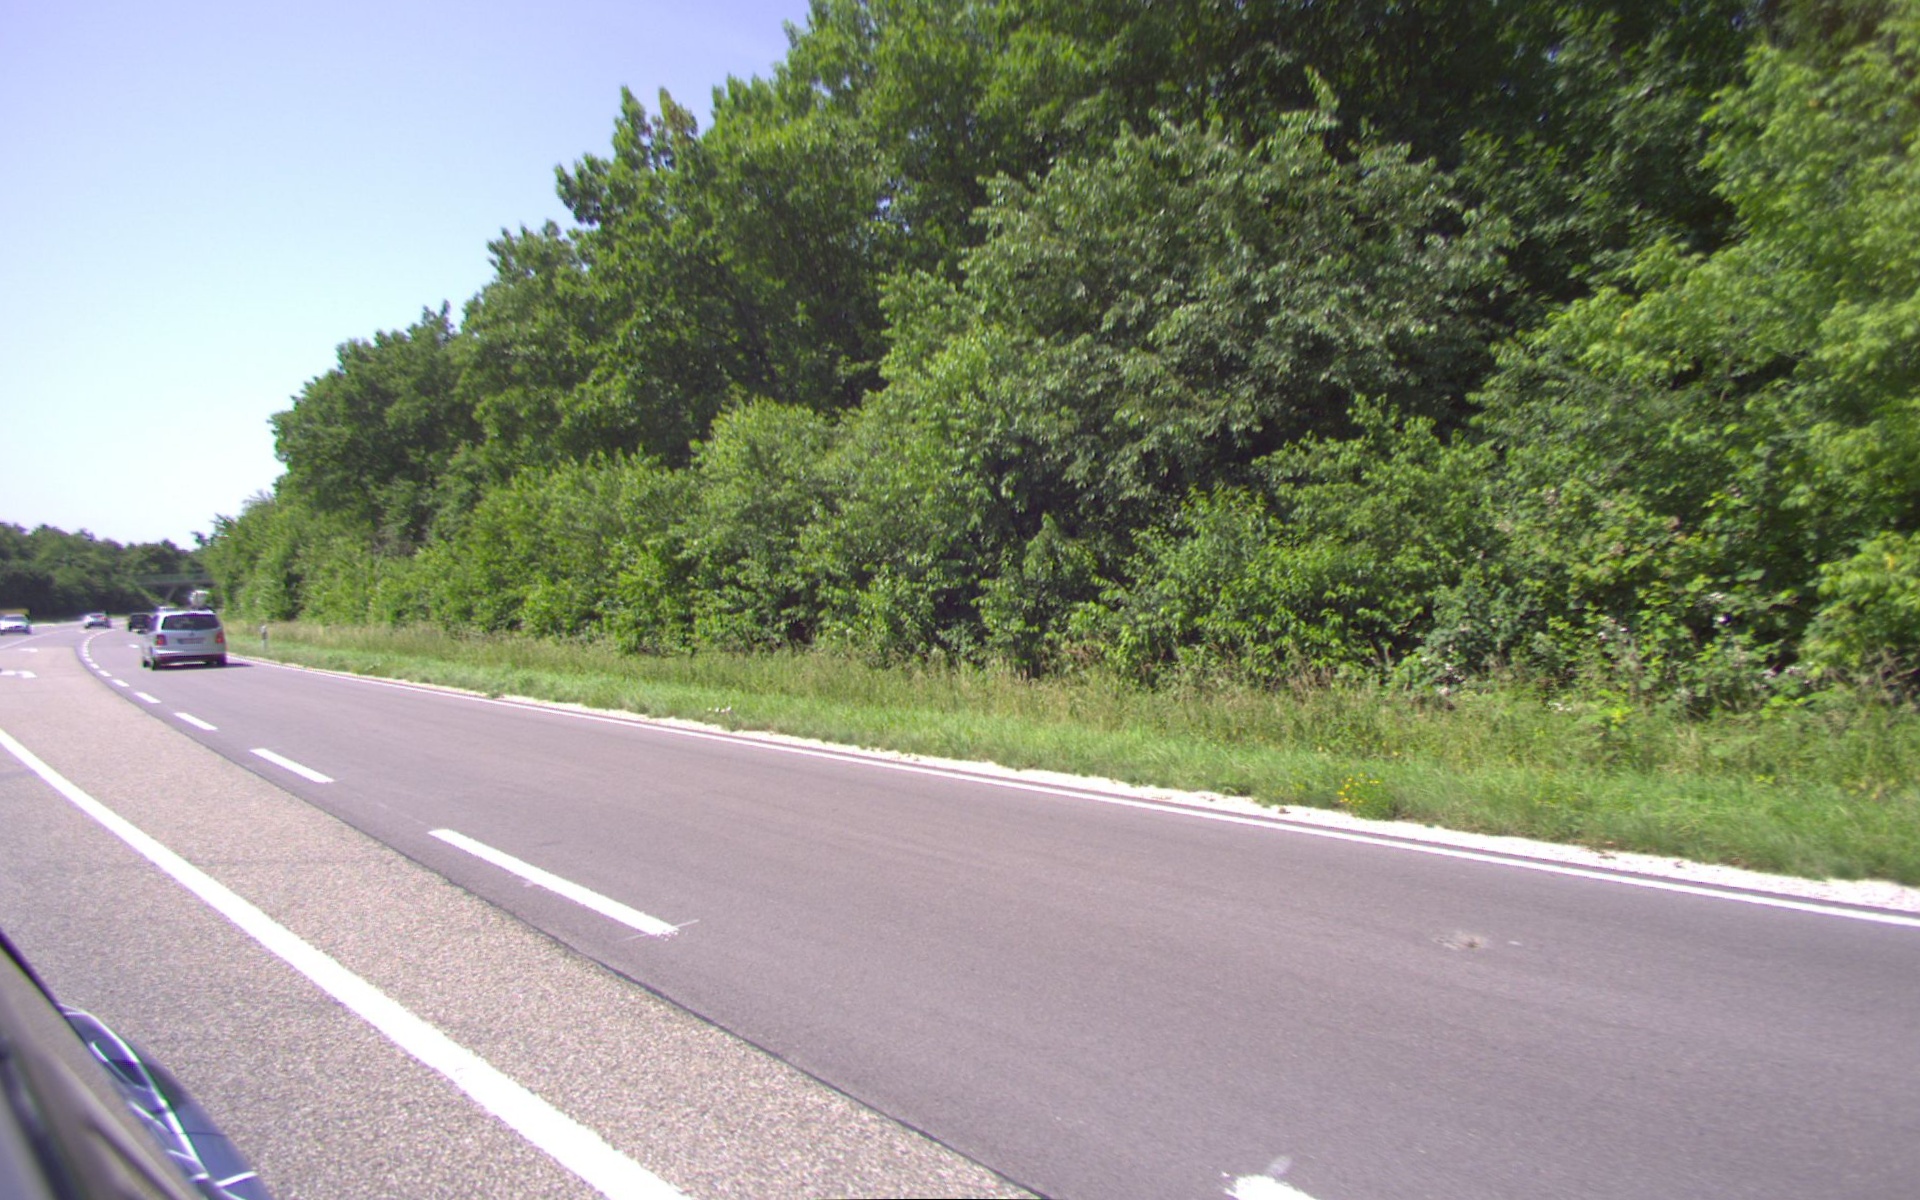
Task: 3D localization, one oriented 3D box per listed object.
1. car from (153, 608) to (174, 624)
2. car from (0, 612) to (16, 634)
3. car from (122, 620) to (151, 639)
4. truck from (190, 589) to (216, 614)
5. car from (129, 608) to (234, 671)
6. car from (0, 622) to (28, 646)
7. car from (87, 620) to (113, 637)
[{"bbox_3d":[-92.540,1.896,117.491,1.819,1.792,4.902,-1,0,-39],"label":"car"},{"bbox_3d":[-92.056,2.247,94.668,2.010,1.921,5.167,0,2,36],"label":"car"},{"bbox_3d":[-68.009,2.405,83.570,1.595,1.513,3.556,-1,0,-42],"label":"car"},{"bbox_3d":[-114.501,0.252,153.111,2.592,3.698,8.819,-1,1,-34],"label":"truck"},{"bbox_3d":[-22.865,1.110,29.659,4.212,1.648,1.783,-1,0,43],"label":"car"},{"bbox_3d":[-75.296,2.700,80.220,4.000,1.821,1.785,-1,0,43],"label":"car"},{"bbox_3d":[-81.809,2.665,96.290,1.686,1.430,4.107,-1,1,-37],"label":"car"}]
